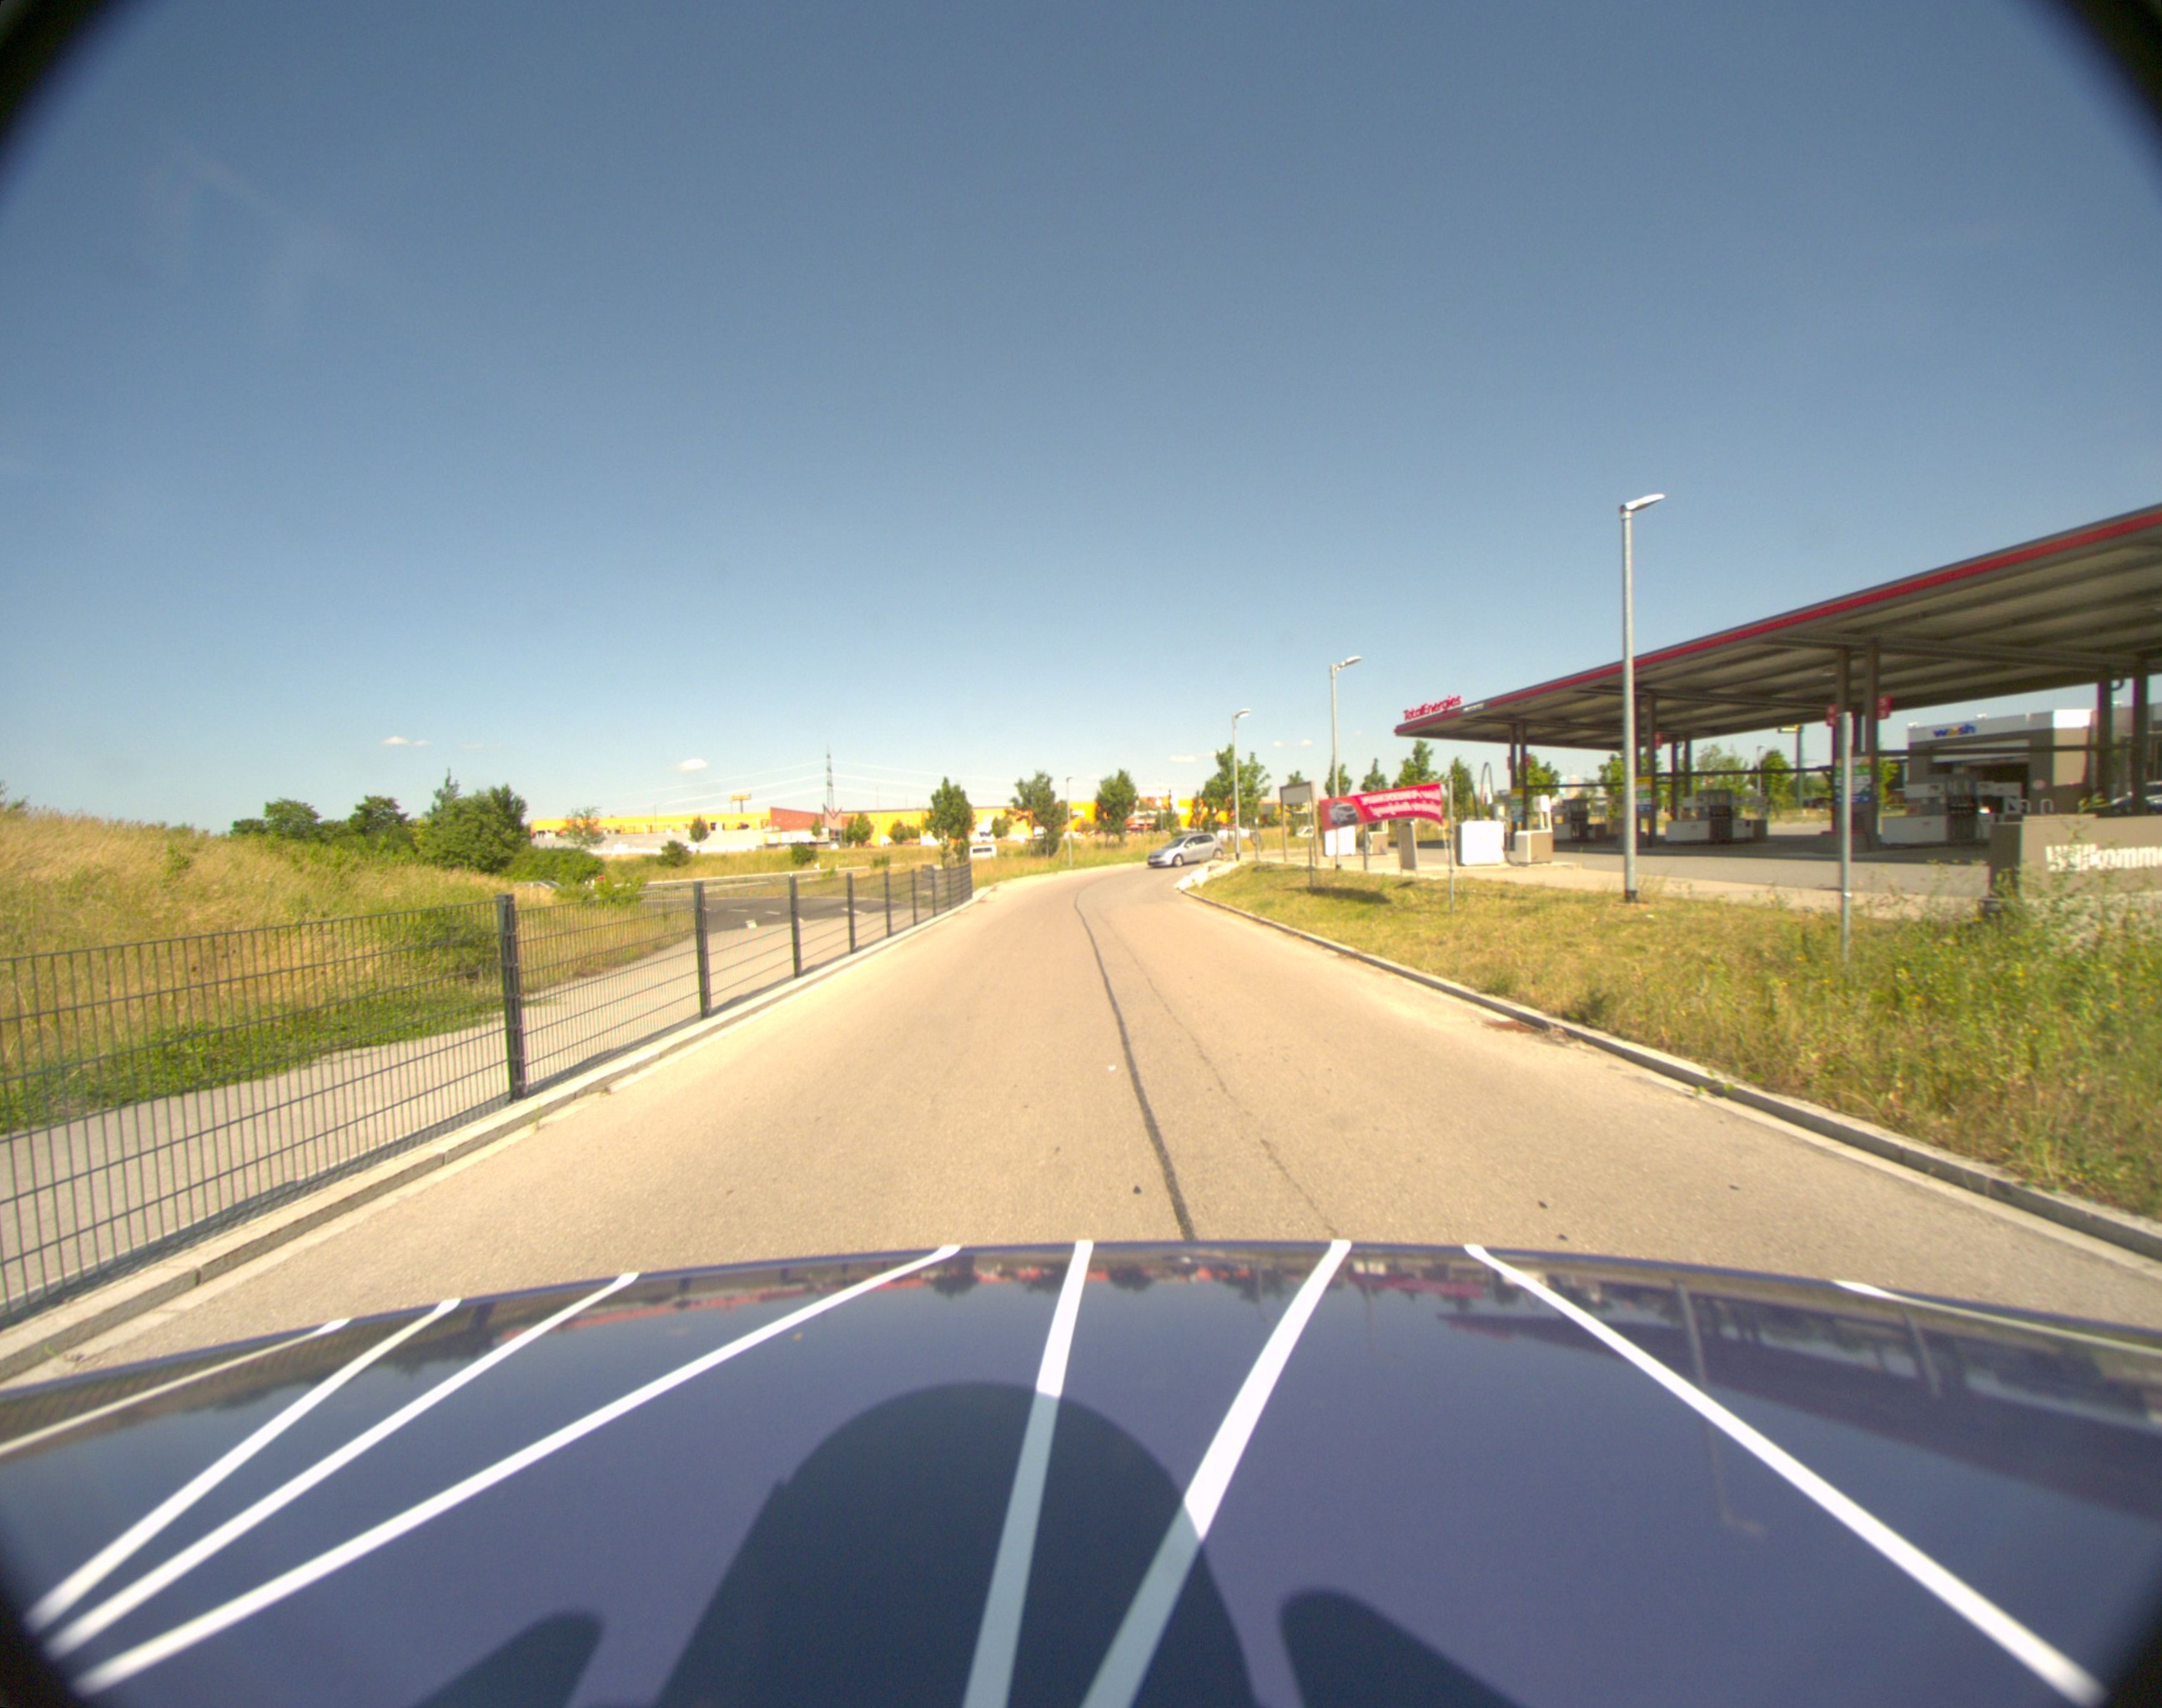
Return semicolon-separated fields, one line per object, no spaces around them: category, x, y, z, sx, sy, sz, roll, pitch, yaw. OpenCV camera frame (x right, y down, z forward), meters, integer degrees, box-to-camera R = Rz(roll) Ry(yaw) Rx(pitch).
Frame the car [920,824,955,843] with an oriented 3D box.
car;-20.352;-2.899;107.782;4.635;2.534;1.999;-3;1;-6

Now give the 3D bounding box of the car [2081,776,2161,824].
car;38.128;-1.934;26.633;3.682;1.565;1.696;-3;1;5

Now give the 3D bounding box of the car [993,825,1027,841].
car;-10.122;-3.003;108.428;4.635;2.002;1.999;-3;1;-6

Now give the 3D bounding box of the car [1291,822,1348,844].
car;24.614;-2.157;78.468;5.254;2.002;1.998;-3;1;-7

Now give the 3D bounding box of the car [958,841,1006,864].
car;-9.893;-0.165;76.239;4.635;2.002;1.999;-3;1;-6

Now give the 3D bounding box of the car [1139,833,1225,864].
car;5.017;-0.293;37.600;3.967;1.459;1.743;0;1;-31
